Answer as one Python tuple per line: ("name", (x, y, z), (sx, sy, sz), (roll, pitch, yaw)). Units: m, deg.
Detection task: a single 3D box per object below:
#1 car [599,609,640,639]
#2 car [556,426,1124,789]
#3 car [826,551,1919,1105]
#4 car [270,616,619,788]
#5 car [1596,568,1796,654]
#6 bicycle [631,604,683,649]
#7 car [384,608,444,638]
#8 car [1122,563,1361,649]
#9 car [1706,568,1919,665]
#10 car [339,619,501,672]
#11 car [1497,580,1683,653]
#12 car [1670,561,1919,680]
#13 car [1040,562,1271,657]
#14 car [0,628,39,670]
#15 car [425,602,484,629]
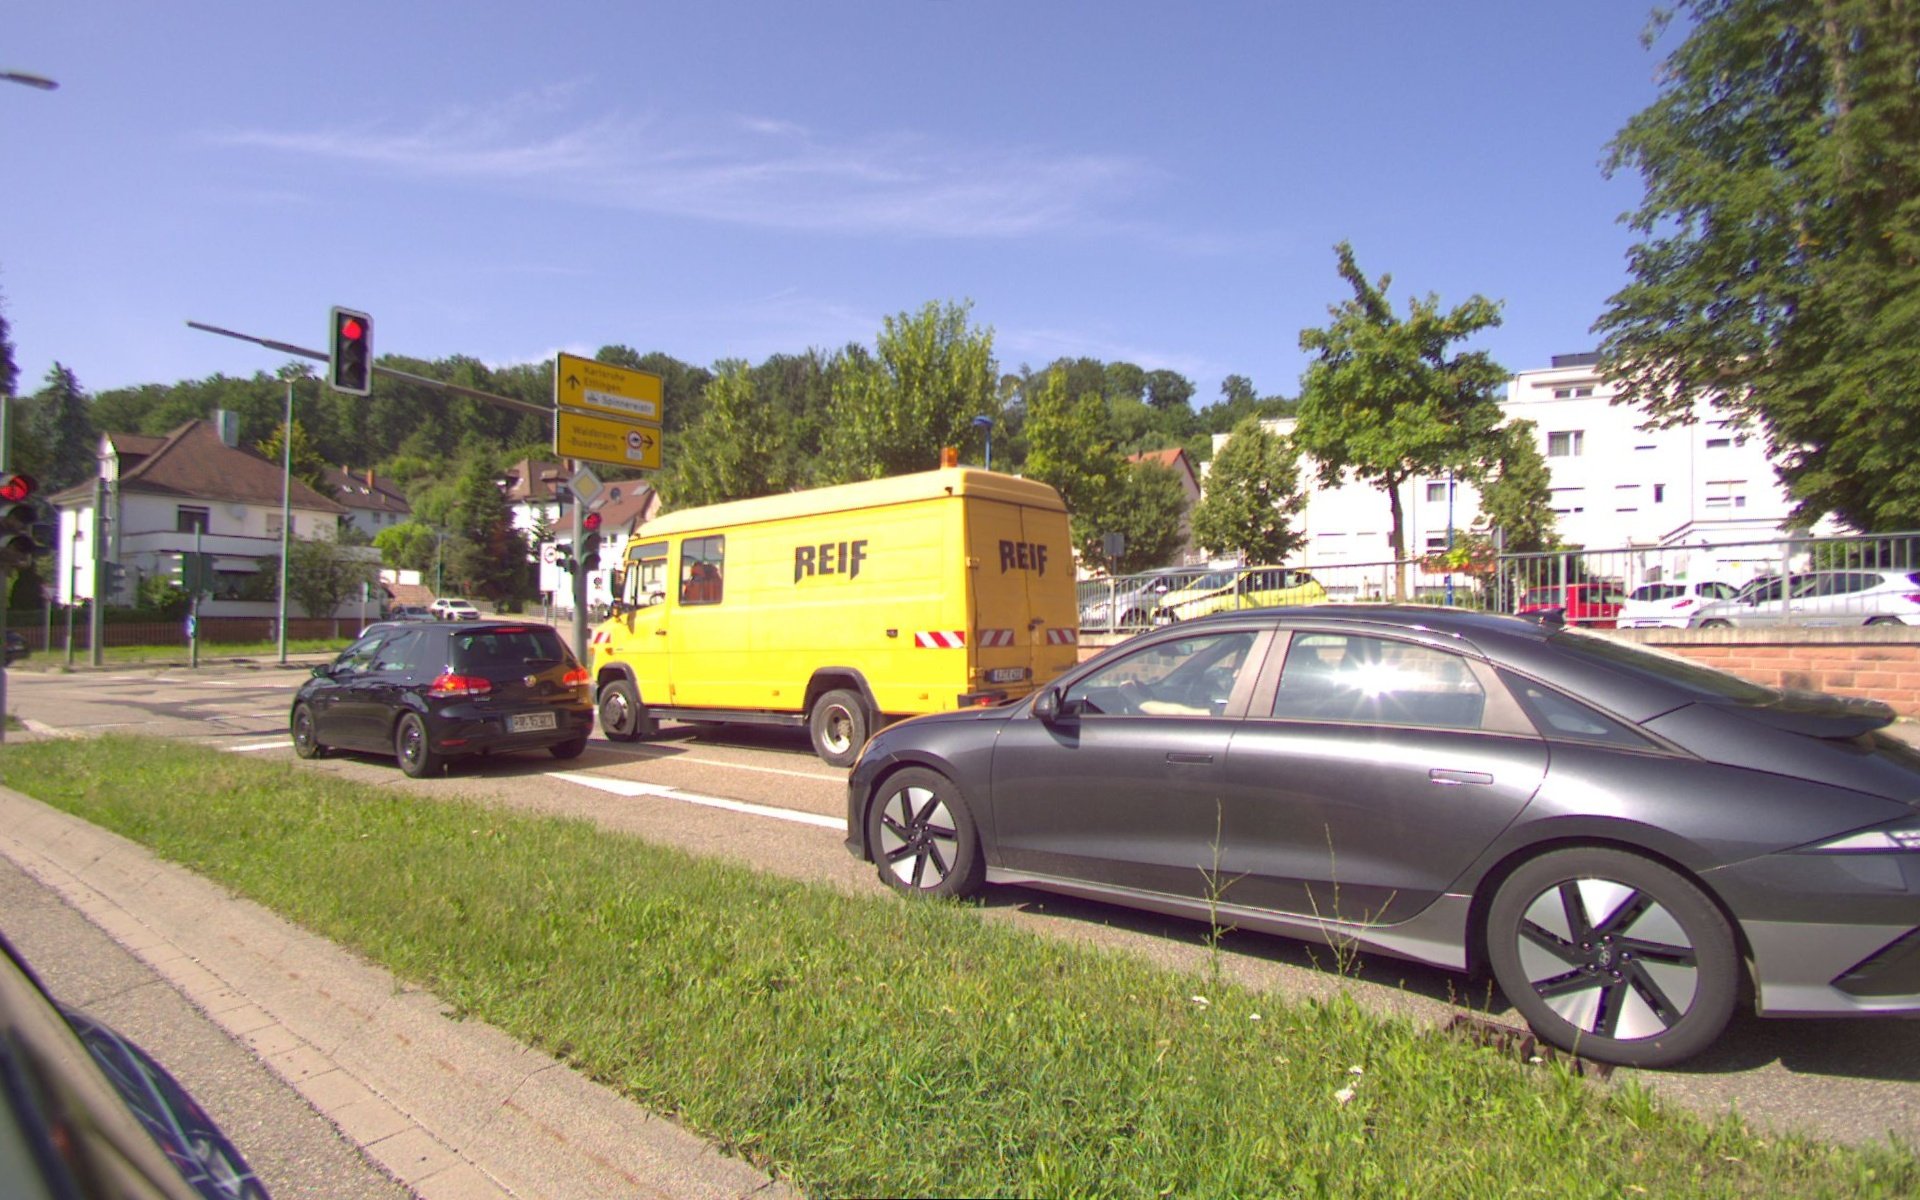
("car", (-19.001, 1.353, 56.411), (1.633, 1.545, 3.967), (-1, -2, -27))
("car", (-1.631, 0.101, 11.409), (6.456, 3.033, 2.444), (-1, 0, 38))
("car", (1.685, 0.654, 4.557), (4.710, 1.482, 1.774), (-2, -1, 39))
("car", (-5.511, 0.933, 10.639), (4.037, 1.474, 1.729), (-2, -2, 38))
("car", (16.785, 0.236, 23.102), (3.931, 1.714, 1.920), (-3, -1, -24))
("bicycle", (-9.316, 0.821, 31.083), (1.756, 1.265, 0.612), (-5, 1, 42))
("car", (-33.083, 1.380, 61.263), (3.999, 1.649, 1.914), (-3, -1, 42))
("car", (5.324, 0.105, 19.223), (3.931, 1.392, 1.920), (-2, -1, -21))
("car", (17.345, 0.285, 20.197), (3.931, 1.684, 2.006), (-2, -1, -19))
("car", (-17.762, 1.463, 33.598), (1.964, 1.515, 4.723), (-2, -1, 17))
("car", (15.752, 0.393, 25.334), (3.931, 1.571, 1.920), (-2, -1, -21))
("car", (14.875, 0.342, 17.352), (1.888, 1.803, 4.013), (0, -1, -21))
("car", (4.166, 0.166, 21.669), (4.339, 1.709, 2.064), (-3, 0, -21))
("car", (-36.507, 1.837, 36.376), (4.671, 1.495, 1.986), (-2, -1, -14))
("car", (-33.346, 1.011, 66.747), (3.996, 1.619, 1.974), (-3, -1, 39))
